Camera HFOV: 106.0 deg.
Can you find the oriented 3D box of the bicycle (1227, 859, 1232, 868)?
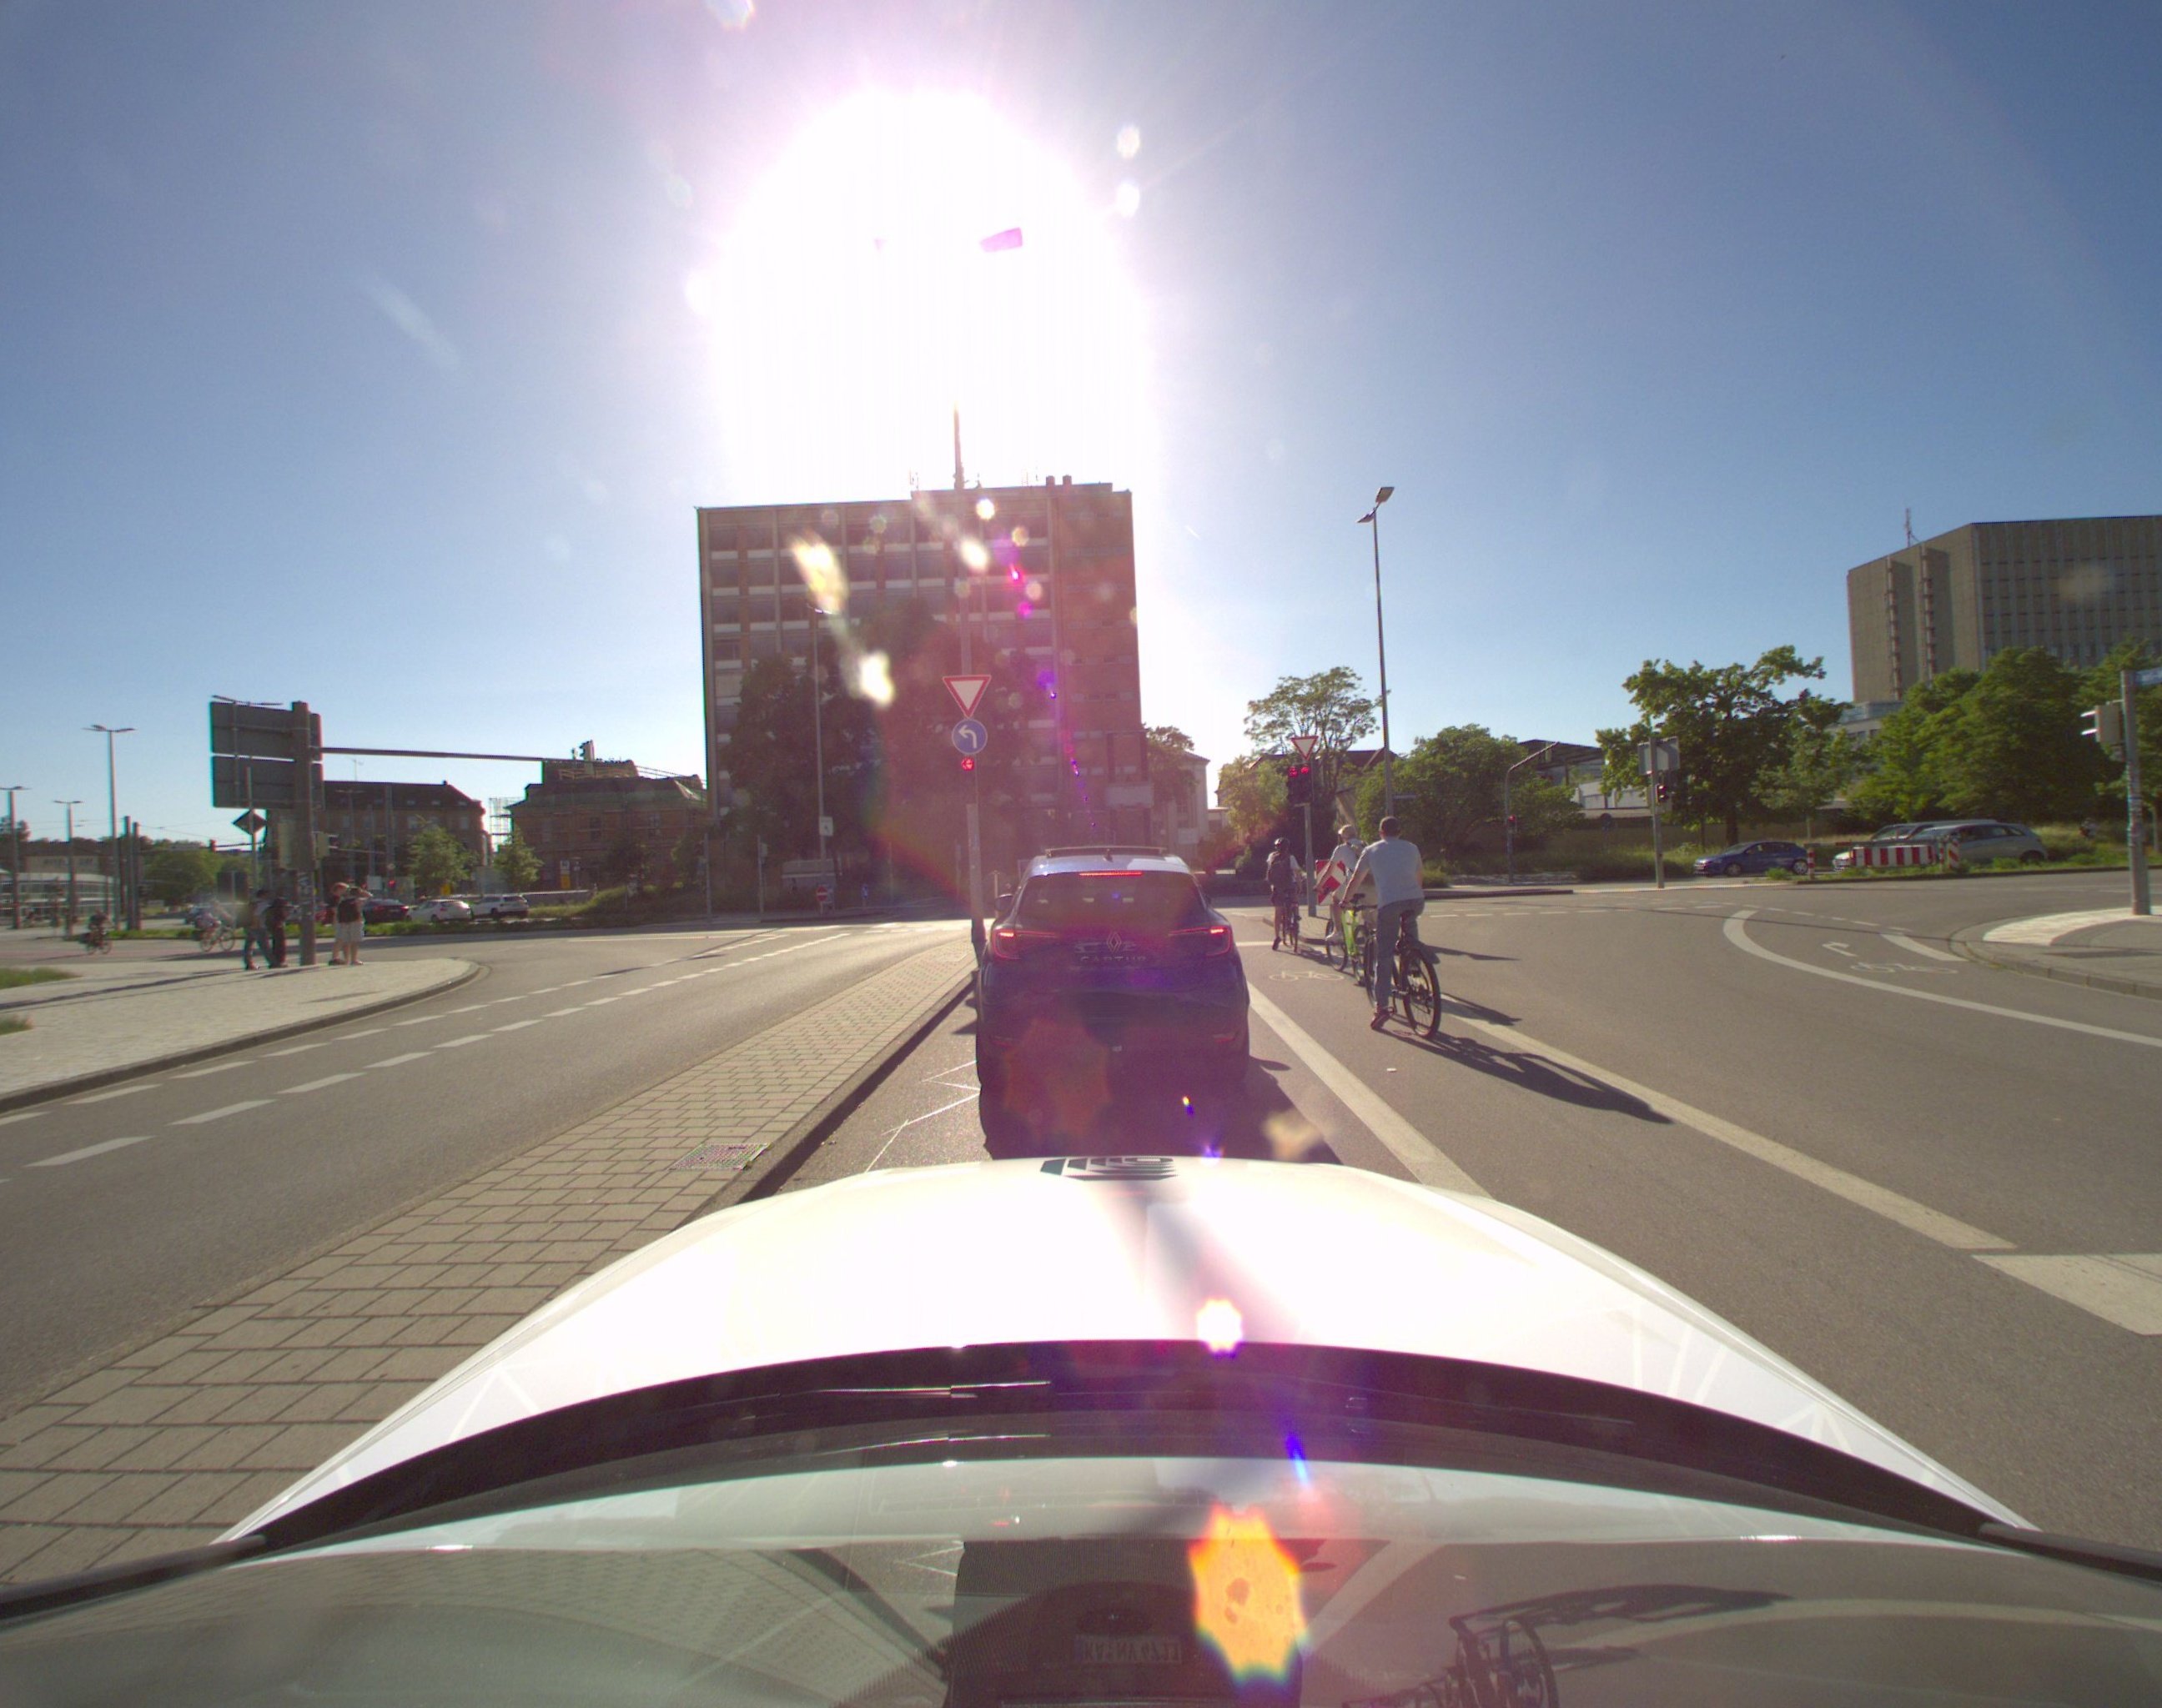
[{"bbox_3d":[17.184,1.073,94.174,0.403,0.973,1.686,0,-1,6],"label":"bicycle"}]

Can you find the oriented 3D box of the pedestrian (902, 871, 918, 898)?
[{"bbox_3d":[-10.424,1.882,49.688,0.732,1.603,0.601,-3,-1,14],"label":"pedestrian"}]

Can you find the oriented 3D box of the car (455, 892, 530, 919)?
[{"bbox_3d":[-38.785,3.391,53.645,4.779,1.632,1.855,-2,-1,25],"label":"car"}]

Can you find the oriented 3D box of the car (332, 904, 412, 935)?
[{"bbox_3d":[-42.564,3.919,48.894,4.334,1.632,1.854,-3,-1,23],"label":"car"}]

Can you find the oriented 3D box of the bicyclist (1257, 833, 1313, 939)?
[{"bbox_3d":[3.239,0.501,12.988,0.722,1.629,0.970,0,-1,6],"label":"bicyclist"}]

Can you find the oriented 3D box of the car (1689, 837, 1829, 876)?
[{"bbox_3d":[28.217,0.101,34.010,4.140,1.435,1.747,-2,-1,8],"label":"car"}]

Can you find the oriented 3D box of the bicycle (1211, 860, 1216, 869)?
[{"bbox_3d":[15.254,1.229,93.882,0.403,0.973,1.686,0,-1,6],"label":"bicycle"}]

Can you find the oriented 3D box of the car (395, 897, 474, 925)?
[{"bbox_3d":[-36.370,3.199,45.816,3.803,1.435,1.752,-2,-1,21],"label":"car"}]

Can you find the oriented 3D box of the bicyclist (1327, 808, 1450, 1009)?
[{"bbox_3d":[2.714,0.461,7.296,0.748,1.668,1.017,0,-1,3],"label":"bicyclist"}]

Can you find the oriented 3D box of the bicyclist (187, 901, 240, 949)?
[{"bbox_3d":[-28.940,2.365,27.181,1.060,1.500,0.744,-4,-1,16],"label":"bicyclist"}]

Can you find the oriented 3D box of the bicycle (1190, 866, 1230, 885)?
[{"bbox_3d":[6.957,1.155,43.861,2.068,0.930,0.698,-3,1,11],"label":"bicycle"}]

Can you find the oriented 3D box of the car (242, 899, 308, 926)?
[{"bbox_3d":[-53.817,3.919,54.372,4.331,1.632,1.855,-3,-1,27],"label":"car"}]

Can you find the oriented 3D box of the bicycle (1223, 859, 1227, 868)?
[{"bbox_3d":[16.650,1.077,94.174,0.403,0.973,1.686,0,-1,6],"label":"bicycle"}]

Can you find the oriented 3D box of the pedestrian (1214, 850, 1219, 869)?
[{"bbox_3d":[15.099,0.600,90.859,0.473,2.014,0.524,-2,-1,8],"label":"pedestrian"}]

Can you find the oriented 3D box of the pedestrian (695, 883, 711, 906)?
[{"bbox_3d":[-25.976,2.796,55.953,0.852,1.571,0.563,-3,-1,27],"label":"pedestrian"}]

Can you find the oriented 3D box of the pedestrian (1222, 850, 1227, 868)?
[{"bbox_3d":[16.211,0.602,92.184,0.473,2.014,0.469,-2,-1,8],"label":"pedestrian"}]

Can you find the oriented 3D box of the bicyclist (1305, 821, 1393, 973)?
[{"bbox_3d":[3.216,0.494,9.851,0.644,1.739,1.065,0,-1,-4],"label":"bicyclist"}]

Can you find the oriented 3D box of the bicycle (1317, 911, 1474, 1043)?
[{"bbox_3d":[2.721,1.021,7.296,0.737,0.896,1.980,0,-1,3],"label":"bicycle"}]

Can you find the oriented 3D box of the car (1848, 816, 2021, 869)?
[{"bbox_3d":[35.251,-0.440,33.763,4.856,2.107,2.002,0,-1,4],"label":"car"}]

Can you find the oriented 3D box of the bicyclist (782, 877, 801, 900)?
[{"bbox_3d":[-18.389,2.177,51.797,0.928,1.429,0.602,-3,-1,25],"label":"bicyclist"}]

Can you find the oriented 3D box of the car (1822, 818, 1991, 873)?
[{"bbox_3d":[30.821,-0.291,30.537,3.962,1.815,2.006,-2,-1,10],"label":"car"}]

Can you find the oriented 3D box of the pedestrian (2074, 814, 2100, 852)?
[{"bbox_3d":[49.184,-1.020,39.821,0.559,1.778,0.528,-2,-1,5],"label":"pedestrian"}]

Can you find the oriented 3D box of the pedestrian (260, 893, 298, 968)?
[{"bbox_3d":[-19.194,1.811,19.496,0.600,1.729,0.572,-2,-1,-45],"label":"pedestrian"}]

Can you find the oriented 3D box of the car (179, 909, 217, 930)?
[{"bbox_3d":[-79.312,5.848,73.104,4.330,1.632,1.856,-3,-1,37],"label":"car"}]

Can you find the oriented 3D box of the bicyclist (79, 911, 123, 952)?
[{"bbox_3d":[-36.506,2.891,30.339,1.114,1.422,0.691,-5,-1,21],"label":"bicyclist"}]

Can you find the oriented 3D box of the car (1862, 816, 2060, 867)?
[{"bbox_3d":[28.139,-0.380,26.169,4.025,1.408,1.872,-2,-1,8],"label":"car"}]

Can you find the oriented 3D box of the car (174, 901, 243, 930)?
[{"bbox_3d":[-55.162,3.905,51.470,4.331,1.632,1.855,-3,-1,27],"label":"car"}]

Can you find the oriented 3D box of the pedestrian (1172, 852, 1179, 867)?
[{"bbox_3d":[11.850,0.667,101.855,0.626,1.856,0.559,-2,-1,-21],"label":"pedestrian"}]

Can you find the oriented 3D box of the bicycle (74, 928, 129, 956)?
[{"bbox_3d":[-36.480,3.273,30.326,1.967,0.918,0.691,-5,-1,21],"label":"bicycle"}]

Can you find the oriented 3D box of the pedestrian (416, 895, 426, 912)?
[{"bbox_3d":[-70.128,5.301,86.528,0.671,1.735,0.663,-3,-1,32],"label":"pedestrian"}]

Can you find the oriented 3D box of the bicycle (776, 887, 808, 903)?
[{"bbox_3d":[-18.372,2.625,51.788,2.057,0.964,0.602,-3,-1,25],"label":"bicycle"}]

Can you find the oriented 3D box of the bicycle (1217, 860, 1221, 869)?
[{"bbox_3d":[15.872,1.224,93.823,0.403,0.973,1.686,0,-1,6],"label":"bicycle"}]

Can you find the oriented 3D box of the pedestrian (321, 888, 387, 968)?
[{"bbox_3d":[-16.355,1.653,18.332,0.785,1.690,0.793,-6,-3,20],"label":"pedestrian"}]

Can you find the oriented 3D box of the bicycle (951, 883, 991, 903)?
[{"bbox_3d":[-5.928,2.112,44.027,2.016,0.964,0.593,-2,-1,-25],"label":"bicycle"}]

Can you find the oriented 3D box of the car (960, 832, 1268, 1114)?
[{"bbox_3d":[0.204,0.708,6.803,1.798,1.632,3.999,-1,0,0],"label":"car"}]

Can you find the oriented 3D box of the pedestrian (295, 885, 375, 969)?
[{"bbox_3d":[-17.039,1.644,18.609,0.696,1.800,1.109,-6,-3,24],"label":"pedestrian"}]

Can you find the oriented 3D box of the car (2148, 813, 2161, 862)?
[{"bbox_3d":[36.986,-0.622,25.351,4.713,1.584,2.002,-2,-1,3],"label":"car"}]

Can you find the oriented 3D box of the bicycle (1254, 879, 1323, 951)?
[{"bbox_3d":[3.248,0.928,12.935,0.735,0.995,2.177,0,-1,6],"label":"bicycle"}]

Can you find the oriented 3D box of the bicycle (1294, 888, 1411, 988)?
[{"bbox_3d":[3.215,0.955,9.852,0.657,1.003,1.967,0,-1,-4],"label":"bicycle"}]

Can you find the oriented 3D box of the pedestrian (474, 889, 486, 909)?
[{"bbox_3d":[-49.738,3.735,67.368,0.541,1.615,0.653,-3,-1,41],"label":"pedestrian"}]

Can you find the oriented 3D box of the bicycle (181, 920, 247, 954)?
[{"bbox_3d":[-28.916,2.773,27.166,1.968,0.995,0.745,-5,-1,19],"label":"bicycle"}]

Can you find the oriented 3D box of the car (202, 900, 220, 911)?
[{"bbox_3d":[-164.641,9.730,154.082,3.948,2.013,2.013,-3,-1,38],"label":"car"}]

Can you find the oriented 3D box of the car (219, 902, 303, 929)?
[{"bbox_3d":[-49.015,3.676,48.660,4.841,1.388,1.854,-3,-1,23],"label":"car"}]

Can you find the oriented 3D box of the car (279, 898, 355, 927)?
[{"bbox_3d":[-48.460,3.683,51.647,4.334,1.632,1.854,-3,-1,23],"label":"car"}]

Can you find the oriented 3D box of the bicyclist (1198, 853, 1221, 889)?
[{"bbox_3d":[6.919,0.911,43.838,1.094,1.867,0.655,-3,-1,12],"label":"bicyclist"}]

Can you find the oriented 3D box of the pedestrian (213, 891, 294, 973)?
[{"bbox_3d":[-18.260,1.709,17.995,0.900,1.690,0.839,-4,-3,-3],"label":"pedestrian"}]

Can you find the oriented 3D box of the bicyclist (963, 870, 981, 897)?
[{"bbox_3d":[-5.890,1.596,44.054,0.741,1.441,0.593,-2,-1,-25],"label":"bicyclist"}]
